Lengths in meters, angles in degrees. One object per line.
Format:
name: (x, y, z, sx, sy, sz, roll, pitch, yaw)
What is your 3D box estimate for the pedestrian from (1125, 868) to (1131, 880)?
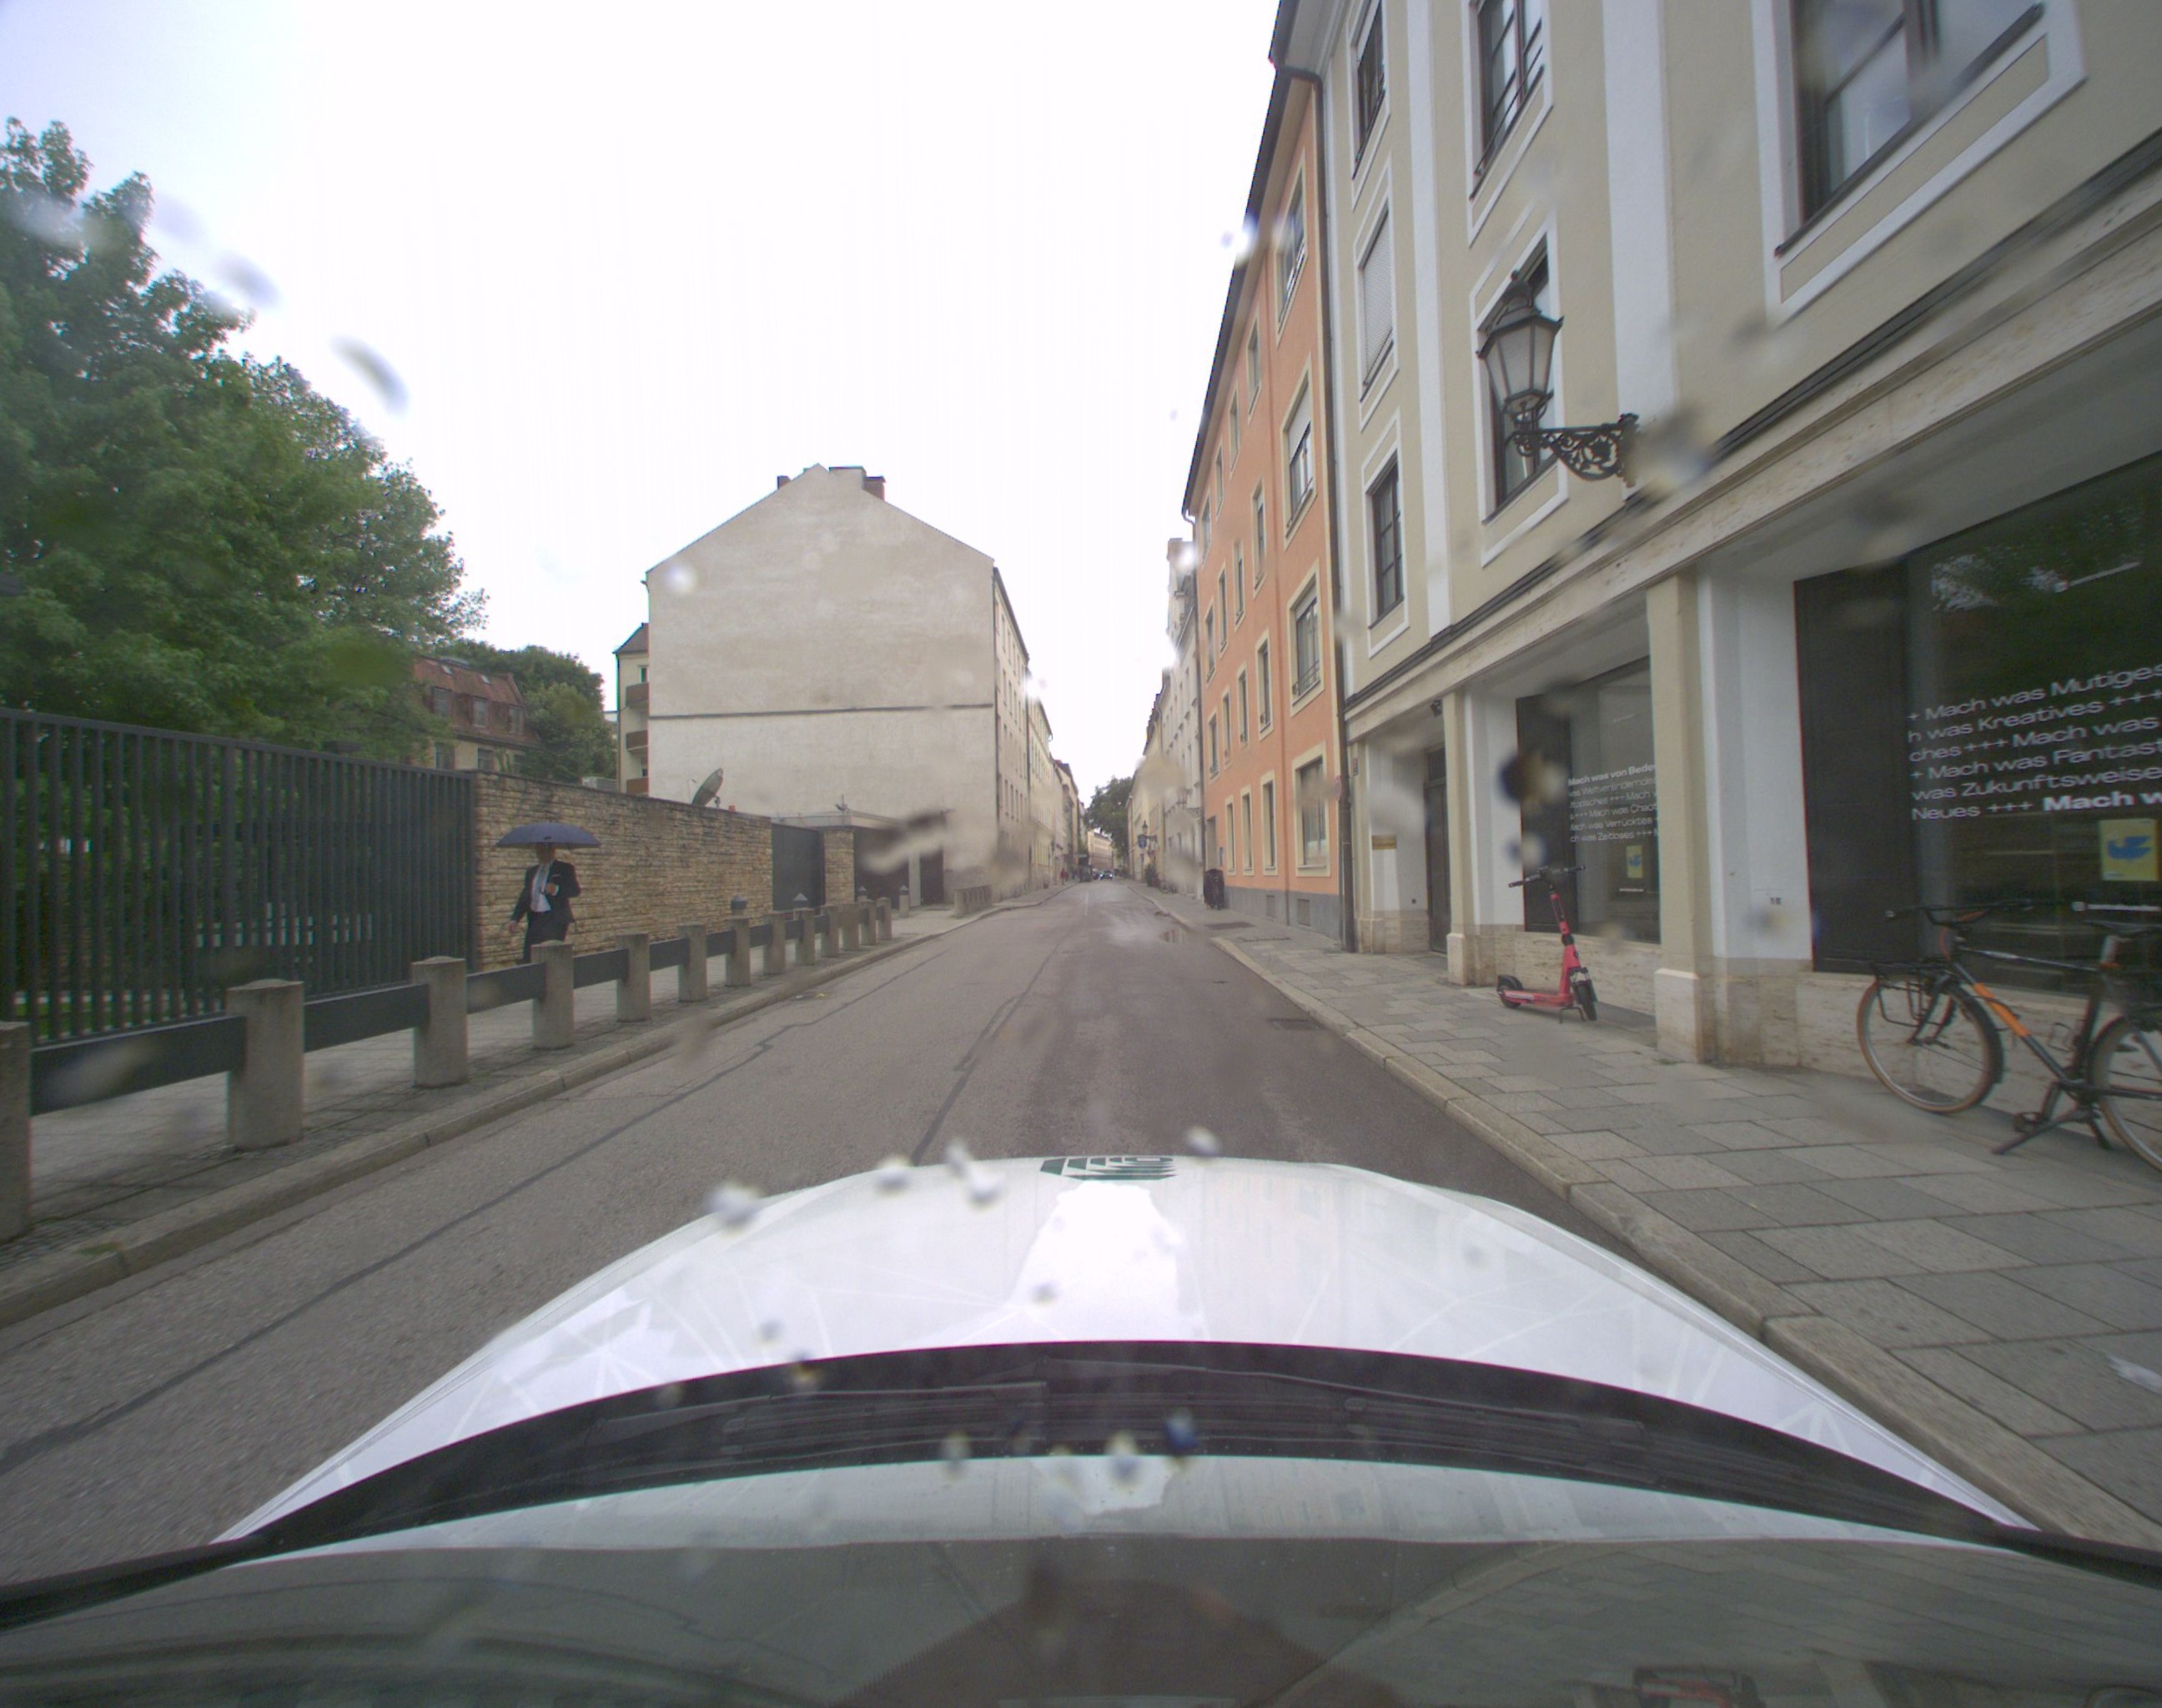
pedestrian: (6.714, 2.858, 115.796, 0.877, 1.802, 1.046, 0, -1, 2)

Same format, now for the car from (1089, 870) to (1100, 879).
car: (2.394, 3.669, 144.611, 1.771, 1.467, 3.545, 0, -1, 4)

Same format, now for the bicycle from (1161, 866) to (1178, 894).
bicycle: (4.542, 1.319, 42.043, 0.710, 1.396, 2.124, -4, -1, 4)

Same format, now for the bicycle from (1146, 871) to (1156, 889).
bicycle: (4.760, 1.756, 55.344, 0.563, 1.137, 1.685, -4, -1, 2)

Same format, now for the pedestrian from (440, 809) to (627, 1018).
pedestrian: (-5.897, 0.613, 8.858, 1.218, 2.104, 1.117, -2, -1, 3)

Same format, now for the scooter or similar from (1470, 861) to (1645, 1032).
scooter or similar: (3.904, 0.701, 6.779, 0.465, 1.259, 1.271, -4, 0, -12)

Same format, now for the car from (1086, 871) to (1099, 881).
car: (1.836, 3.349, 124.533, 1.771, 1.467, 3.666, 0, -1, 4)

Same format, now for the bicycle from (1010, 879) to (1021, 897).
bicycle: (-3.466, 1.787, 43.098, 0.318, 0.944, 1.575, 1, -1, 3)

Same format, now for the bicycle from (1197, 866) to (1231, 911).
bicycle: (4.065, 1.025, 25.104, 0.676, 1.240, 2.384, -6, -1, 3)

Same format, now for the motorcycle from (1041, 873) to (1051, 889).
motorcycle: (-2.612, 1.992, 61.315, 0.600, 1.174, 1.709, -1, -1, 2)

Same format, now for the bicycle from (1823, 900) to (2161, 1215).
bicycle: (4.206, 0.776, 3.510, 0.461, 0.994, 2.085, -2, 0, 12)

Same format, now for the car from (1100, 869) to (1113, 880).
car: (3.811, 3.116, 122.017, 1.806, 1.594, 3.999, -1, -1, 0)

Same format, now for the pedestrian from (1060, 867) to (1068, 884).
pedestrian: (-1.706, 2.162, 82.083, 0.763, 1.708, 0.785, -2, -1, -1)

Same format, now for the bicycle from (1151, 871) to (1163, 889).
bicycle: (4.949, 1.672, 53.134, 0.563, 1.137, 1.988, -4, -1, 2)
